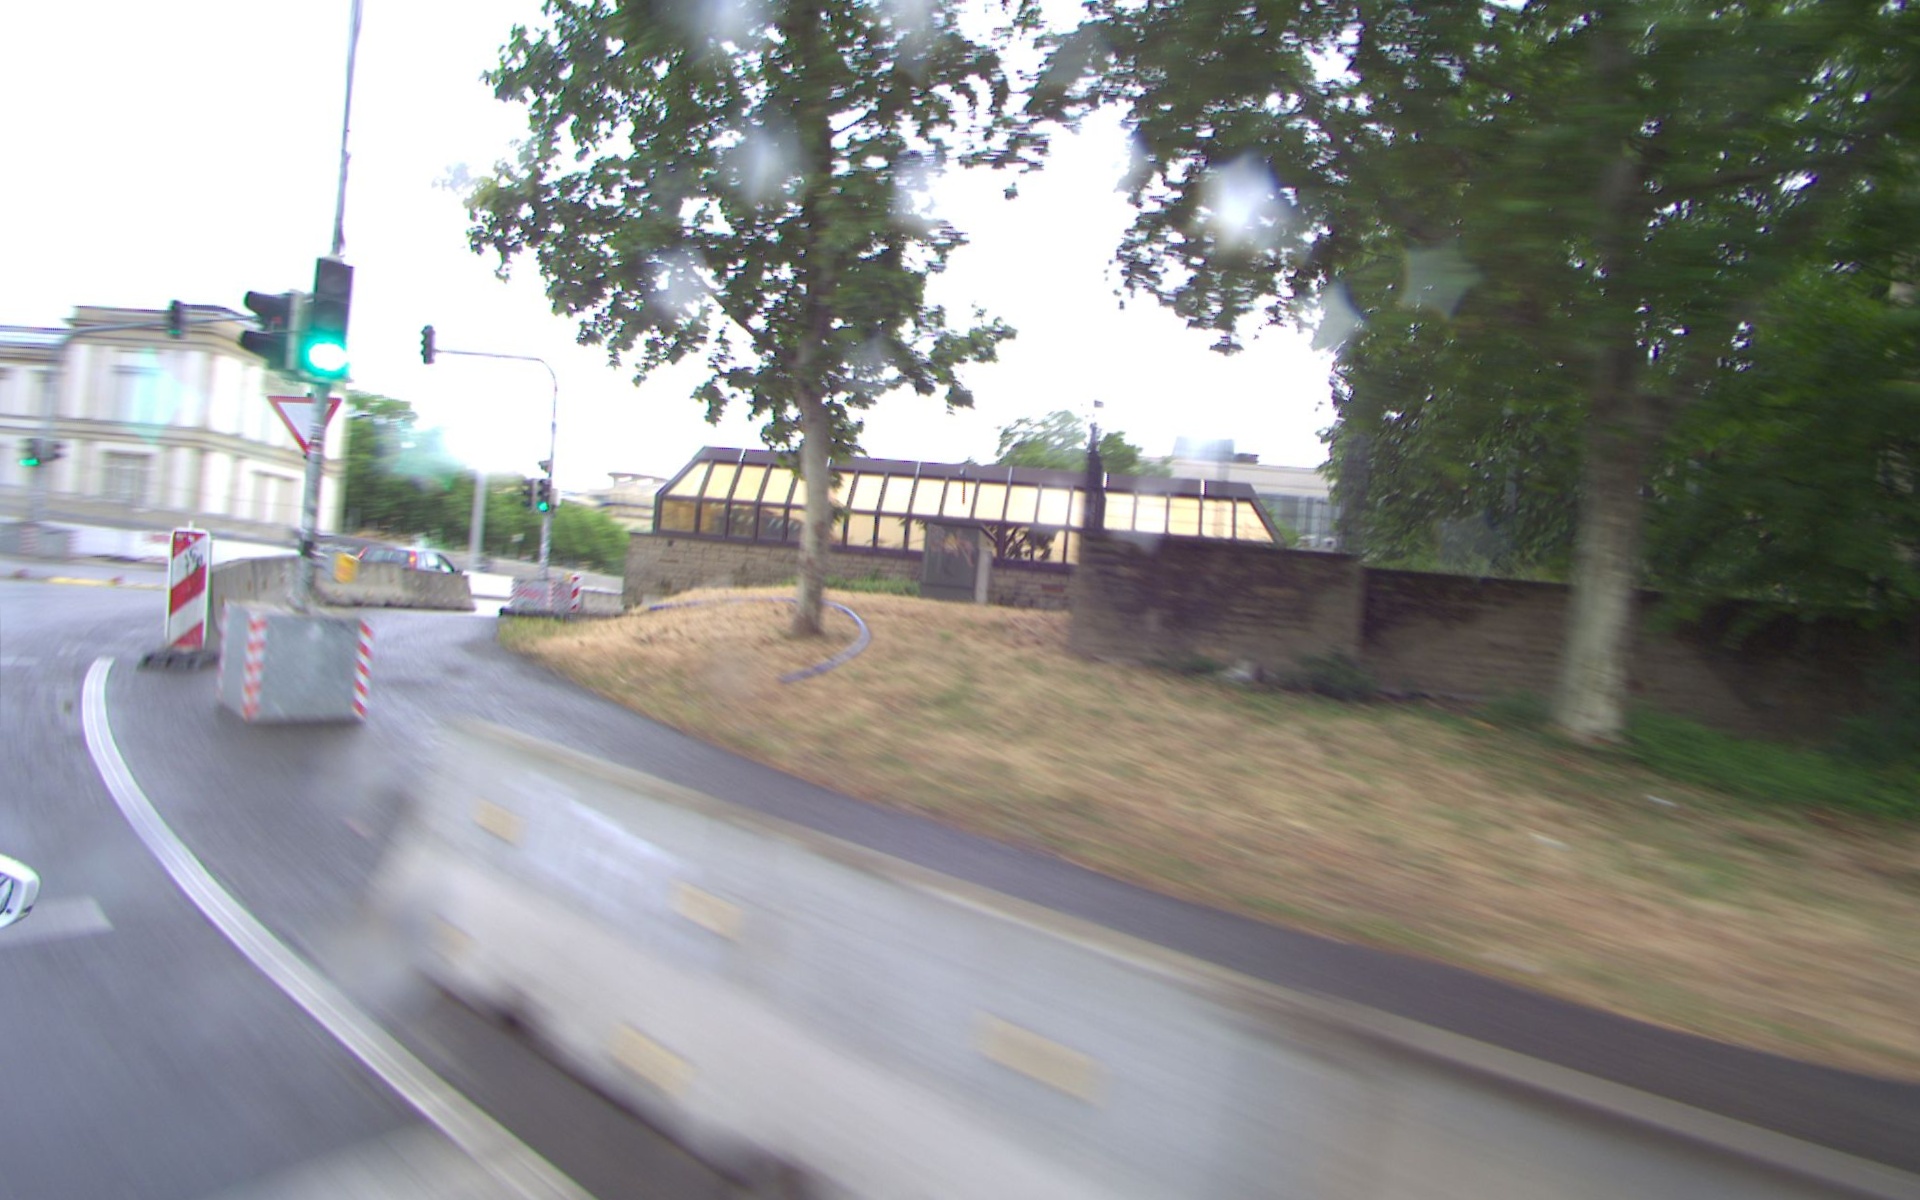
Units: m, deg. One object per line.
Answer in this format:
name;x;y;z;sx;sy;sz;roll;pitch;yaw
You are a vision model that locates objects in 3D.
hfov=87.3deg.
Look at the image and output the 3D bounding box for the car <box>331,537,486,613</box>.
car;-13.805;-0.572;25.452;1.644;1.443;3.761;8;-2;1
